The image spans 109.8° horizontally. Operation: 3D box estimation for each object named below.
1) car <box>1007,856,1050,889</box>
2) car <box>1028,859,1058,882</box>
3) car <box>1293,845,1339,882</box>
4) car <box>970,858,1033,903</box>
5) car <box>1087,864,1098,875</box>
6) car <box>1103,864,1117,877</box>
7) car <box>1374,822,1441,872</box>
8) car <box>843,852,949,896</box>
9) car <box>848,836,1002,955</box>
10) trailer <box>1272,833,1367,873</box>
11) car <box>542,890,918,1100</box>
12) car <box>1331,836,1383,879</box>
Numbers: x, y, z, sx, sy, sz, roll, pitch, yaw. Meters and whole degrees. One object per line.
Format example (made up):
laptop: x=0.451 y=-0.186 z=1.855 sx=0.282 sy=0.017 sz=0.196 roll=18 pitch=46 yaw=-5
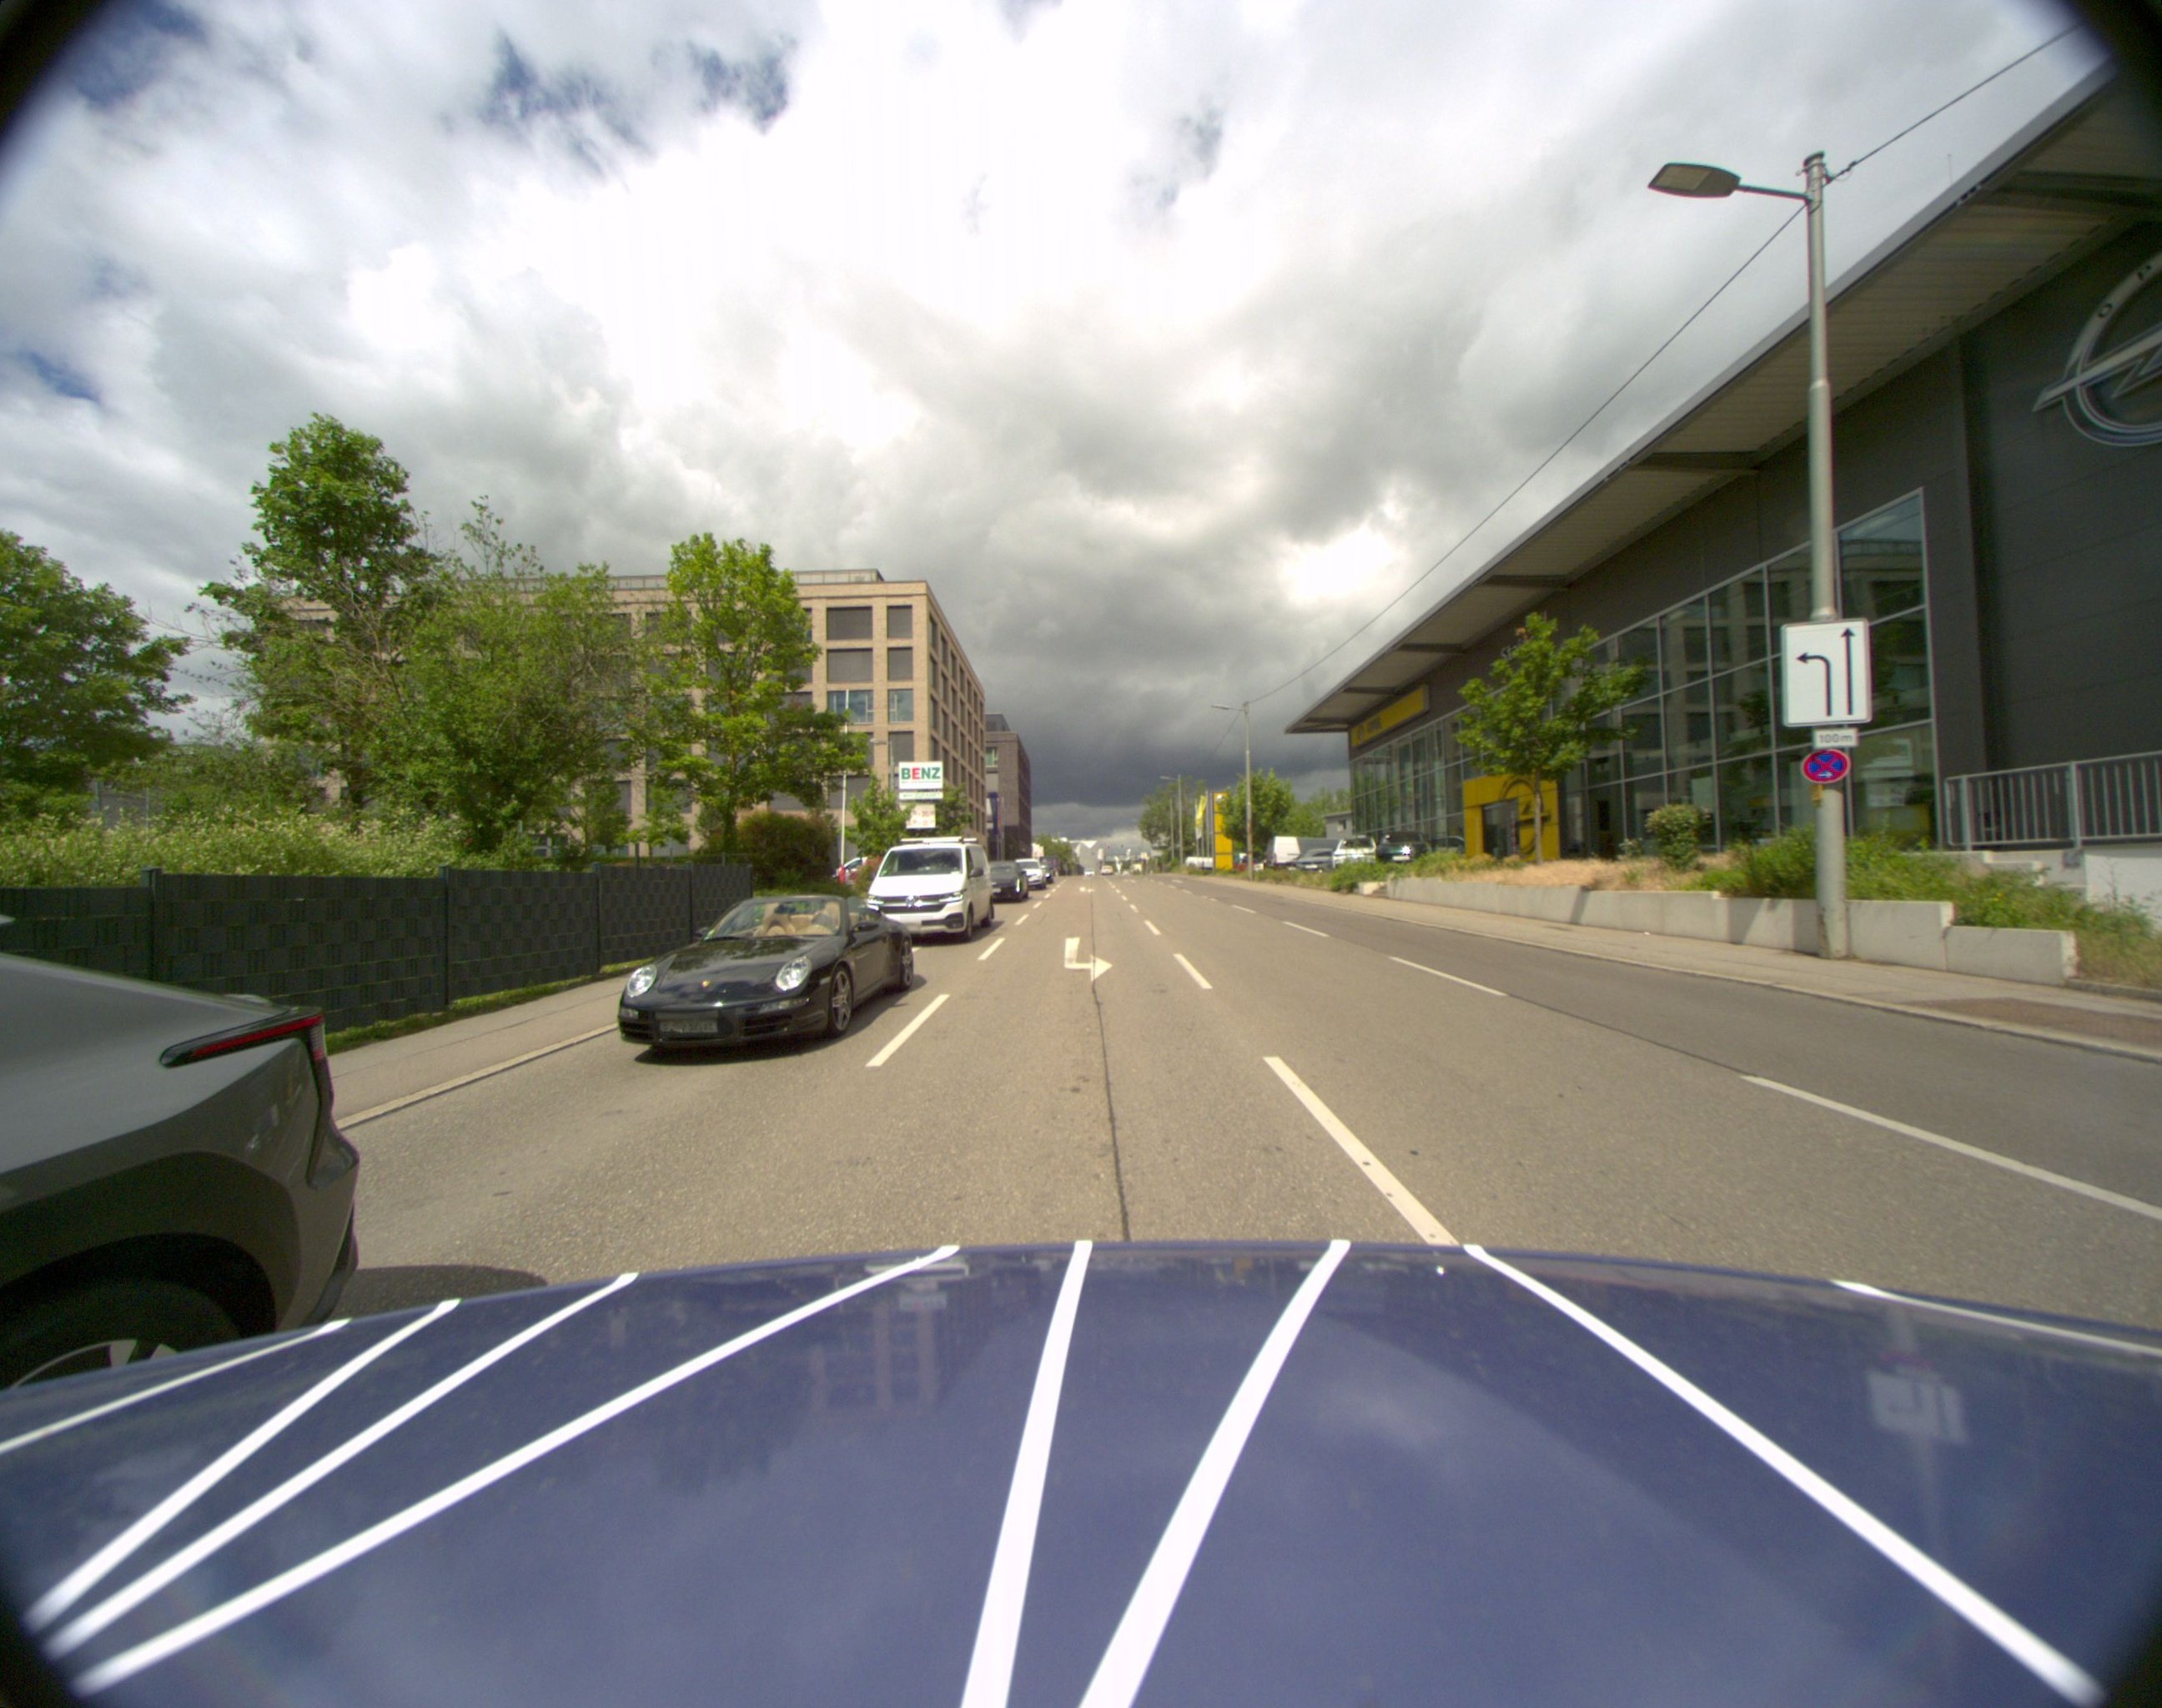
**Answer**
car: x=-2.604 y=0.891 z=38.428 sx=1.818 sy=1.577 sz=4.000 roll=-1 pitch=0 yaw=1
car: x=-2.408 y=1.036 z=48.776 sx=1.662 sy=1.351 sz=4.000 roll=-1 pitch=0 yaw=1
car: x=12.096 y=0.463 z=39.014 sx=1.995 sy=1.783 sz=4.006 roll=-1 pitch=0 yaw=21
car: x=-2.839 y=0.909 z=27.887 sx=1.818 sy=1.454 sz=4.000 roll=-1 pitch=0 yaw=1
car: x=2.179 y=3.022 z=147.620 sx=1.998 sy=1.819 sz=4.547 roll=-2 pitch=0 yaw=2
car: x=4.492 y=2.547 z=117.092 sx=1.998 sy=1.731 sz=4.547 roll=-2 pitch=0 yaw=1
car: x=12.325 y=-0.257 z=28.930 sx=1.996 sy=1.718 sz=4.005 roll=-1 pitch=0 yaw=18
car: x=-7.639 y=0.808 z=31.679 sx=3.998 sy=1.723 sz=1.822 roll=-1 pitch=1 yaw=-3
car: x=-3.026 y=0.730 z=15.889 sx=2.089 sy=2.037 sz=4.760 roll=-2 pitch=0 yaw=1
trailer: x=14.440 y=-0.074 z=46.174 sx=5.074 sy=2.336 sz=2.000 roll=-1 pitch=1 yaw=-1
car: x=-3.048 y=1.150 z=7.672 sx=1.824 sy=1.286 sz=4.038 roll=-2 pitch=0 yaw=1
car: x=12.157 y=0.124 z=33.441 sx=1.995 sy=1.783 sz=4.006 roll=-1 pitch=0 yaw=21
